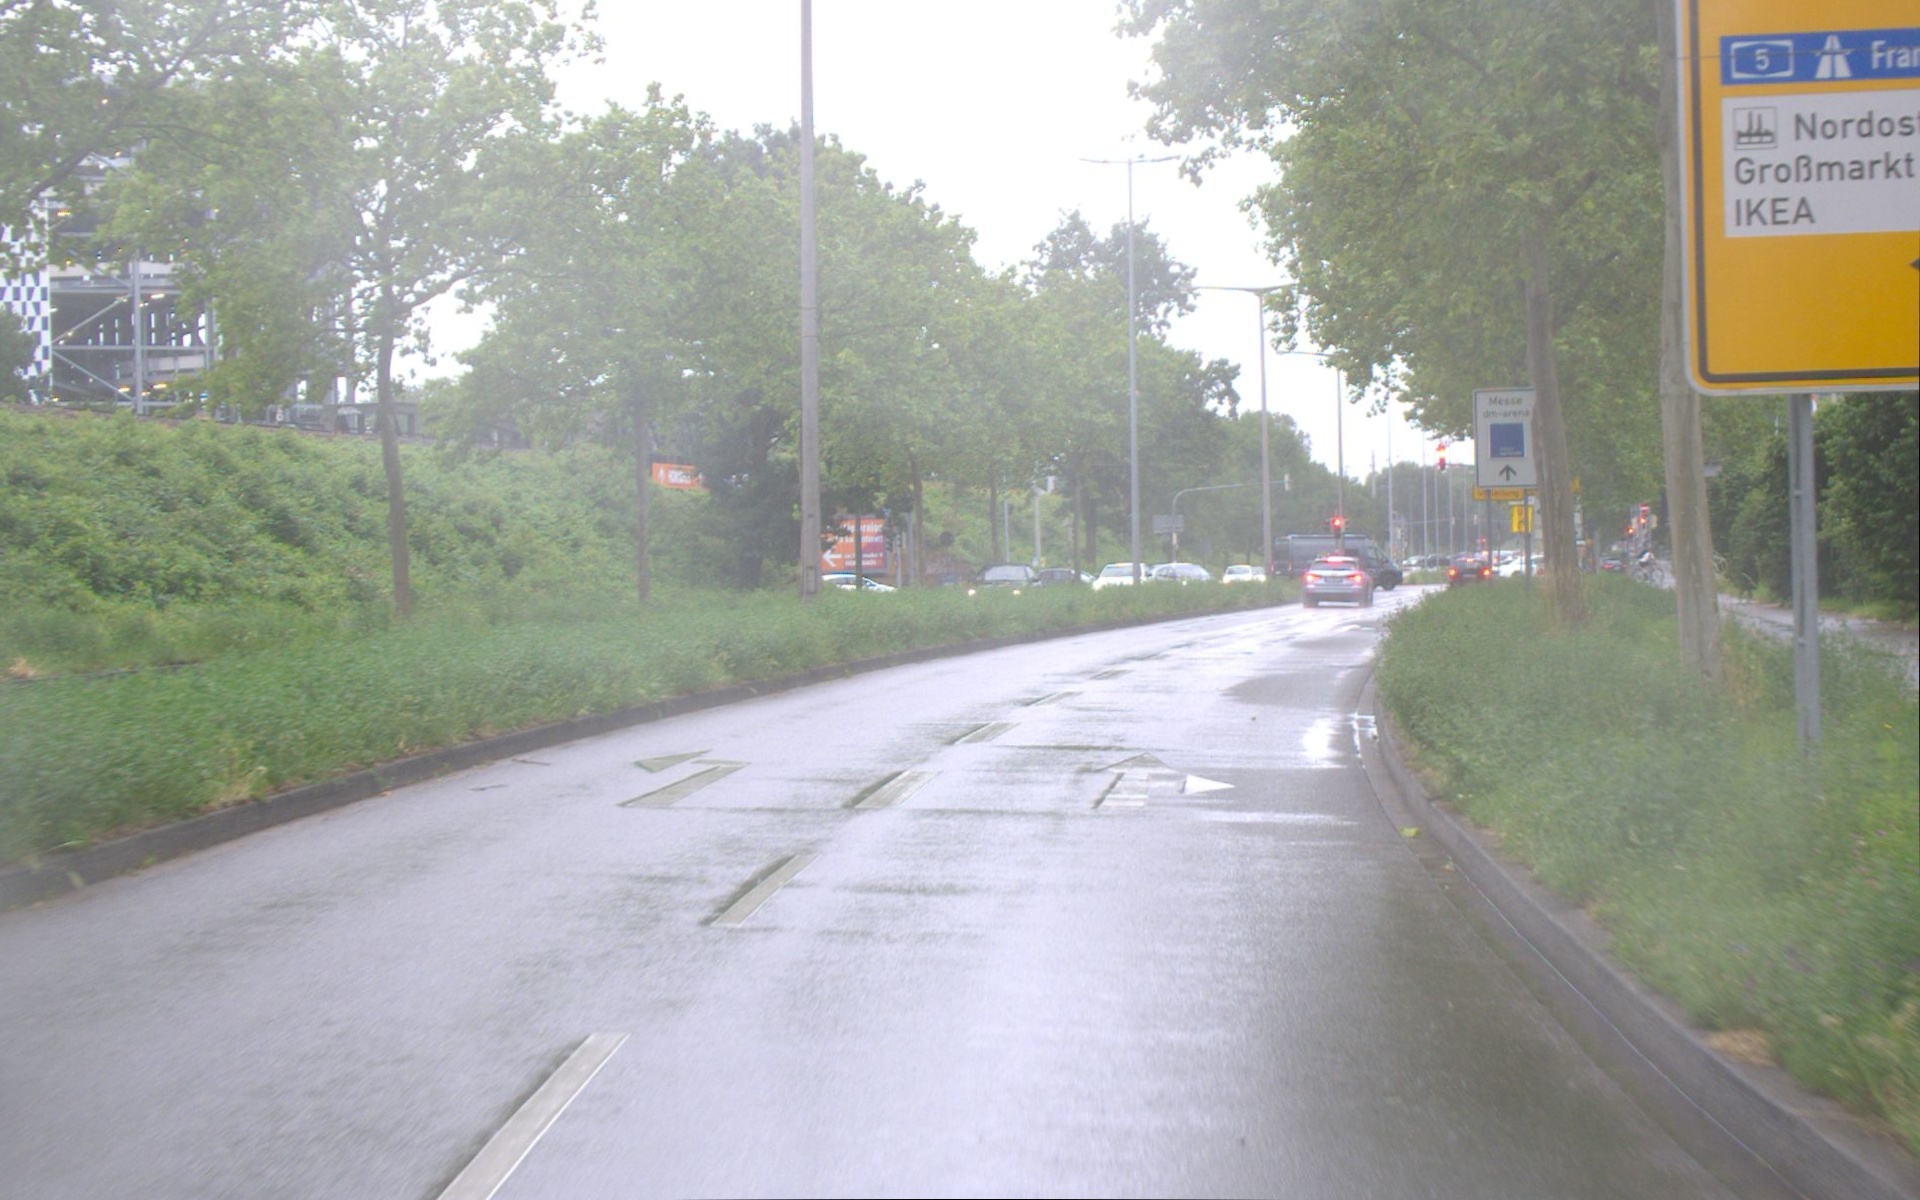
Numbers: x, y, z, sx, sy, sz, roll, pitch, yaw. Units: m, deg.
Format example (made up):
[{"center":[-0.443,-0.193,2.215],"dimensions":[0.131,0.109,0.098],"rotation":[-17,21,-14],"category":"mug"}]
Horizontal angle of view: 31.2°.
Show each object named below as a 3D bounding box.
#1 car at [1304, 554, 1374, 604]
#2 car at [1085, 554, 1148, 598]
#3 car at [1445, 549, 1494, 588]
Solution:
[{"center":[11.059,-0.604,100.088],"dimensions":[1.691,1.428,4.572],"rotation":[0,0,10],"category":"car"},{"center":[5.413,-0.841,118.517],"dimensions":[1.702,1.489,4.203],"rotation":[0,1,9],"category":"car"},{"center":[20.572,-1.280,138.818],"dimensions":[1.797,1.532,4.385],"rotation":[1,1,10],"category":"car"}]
